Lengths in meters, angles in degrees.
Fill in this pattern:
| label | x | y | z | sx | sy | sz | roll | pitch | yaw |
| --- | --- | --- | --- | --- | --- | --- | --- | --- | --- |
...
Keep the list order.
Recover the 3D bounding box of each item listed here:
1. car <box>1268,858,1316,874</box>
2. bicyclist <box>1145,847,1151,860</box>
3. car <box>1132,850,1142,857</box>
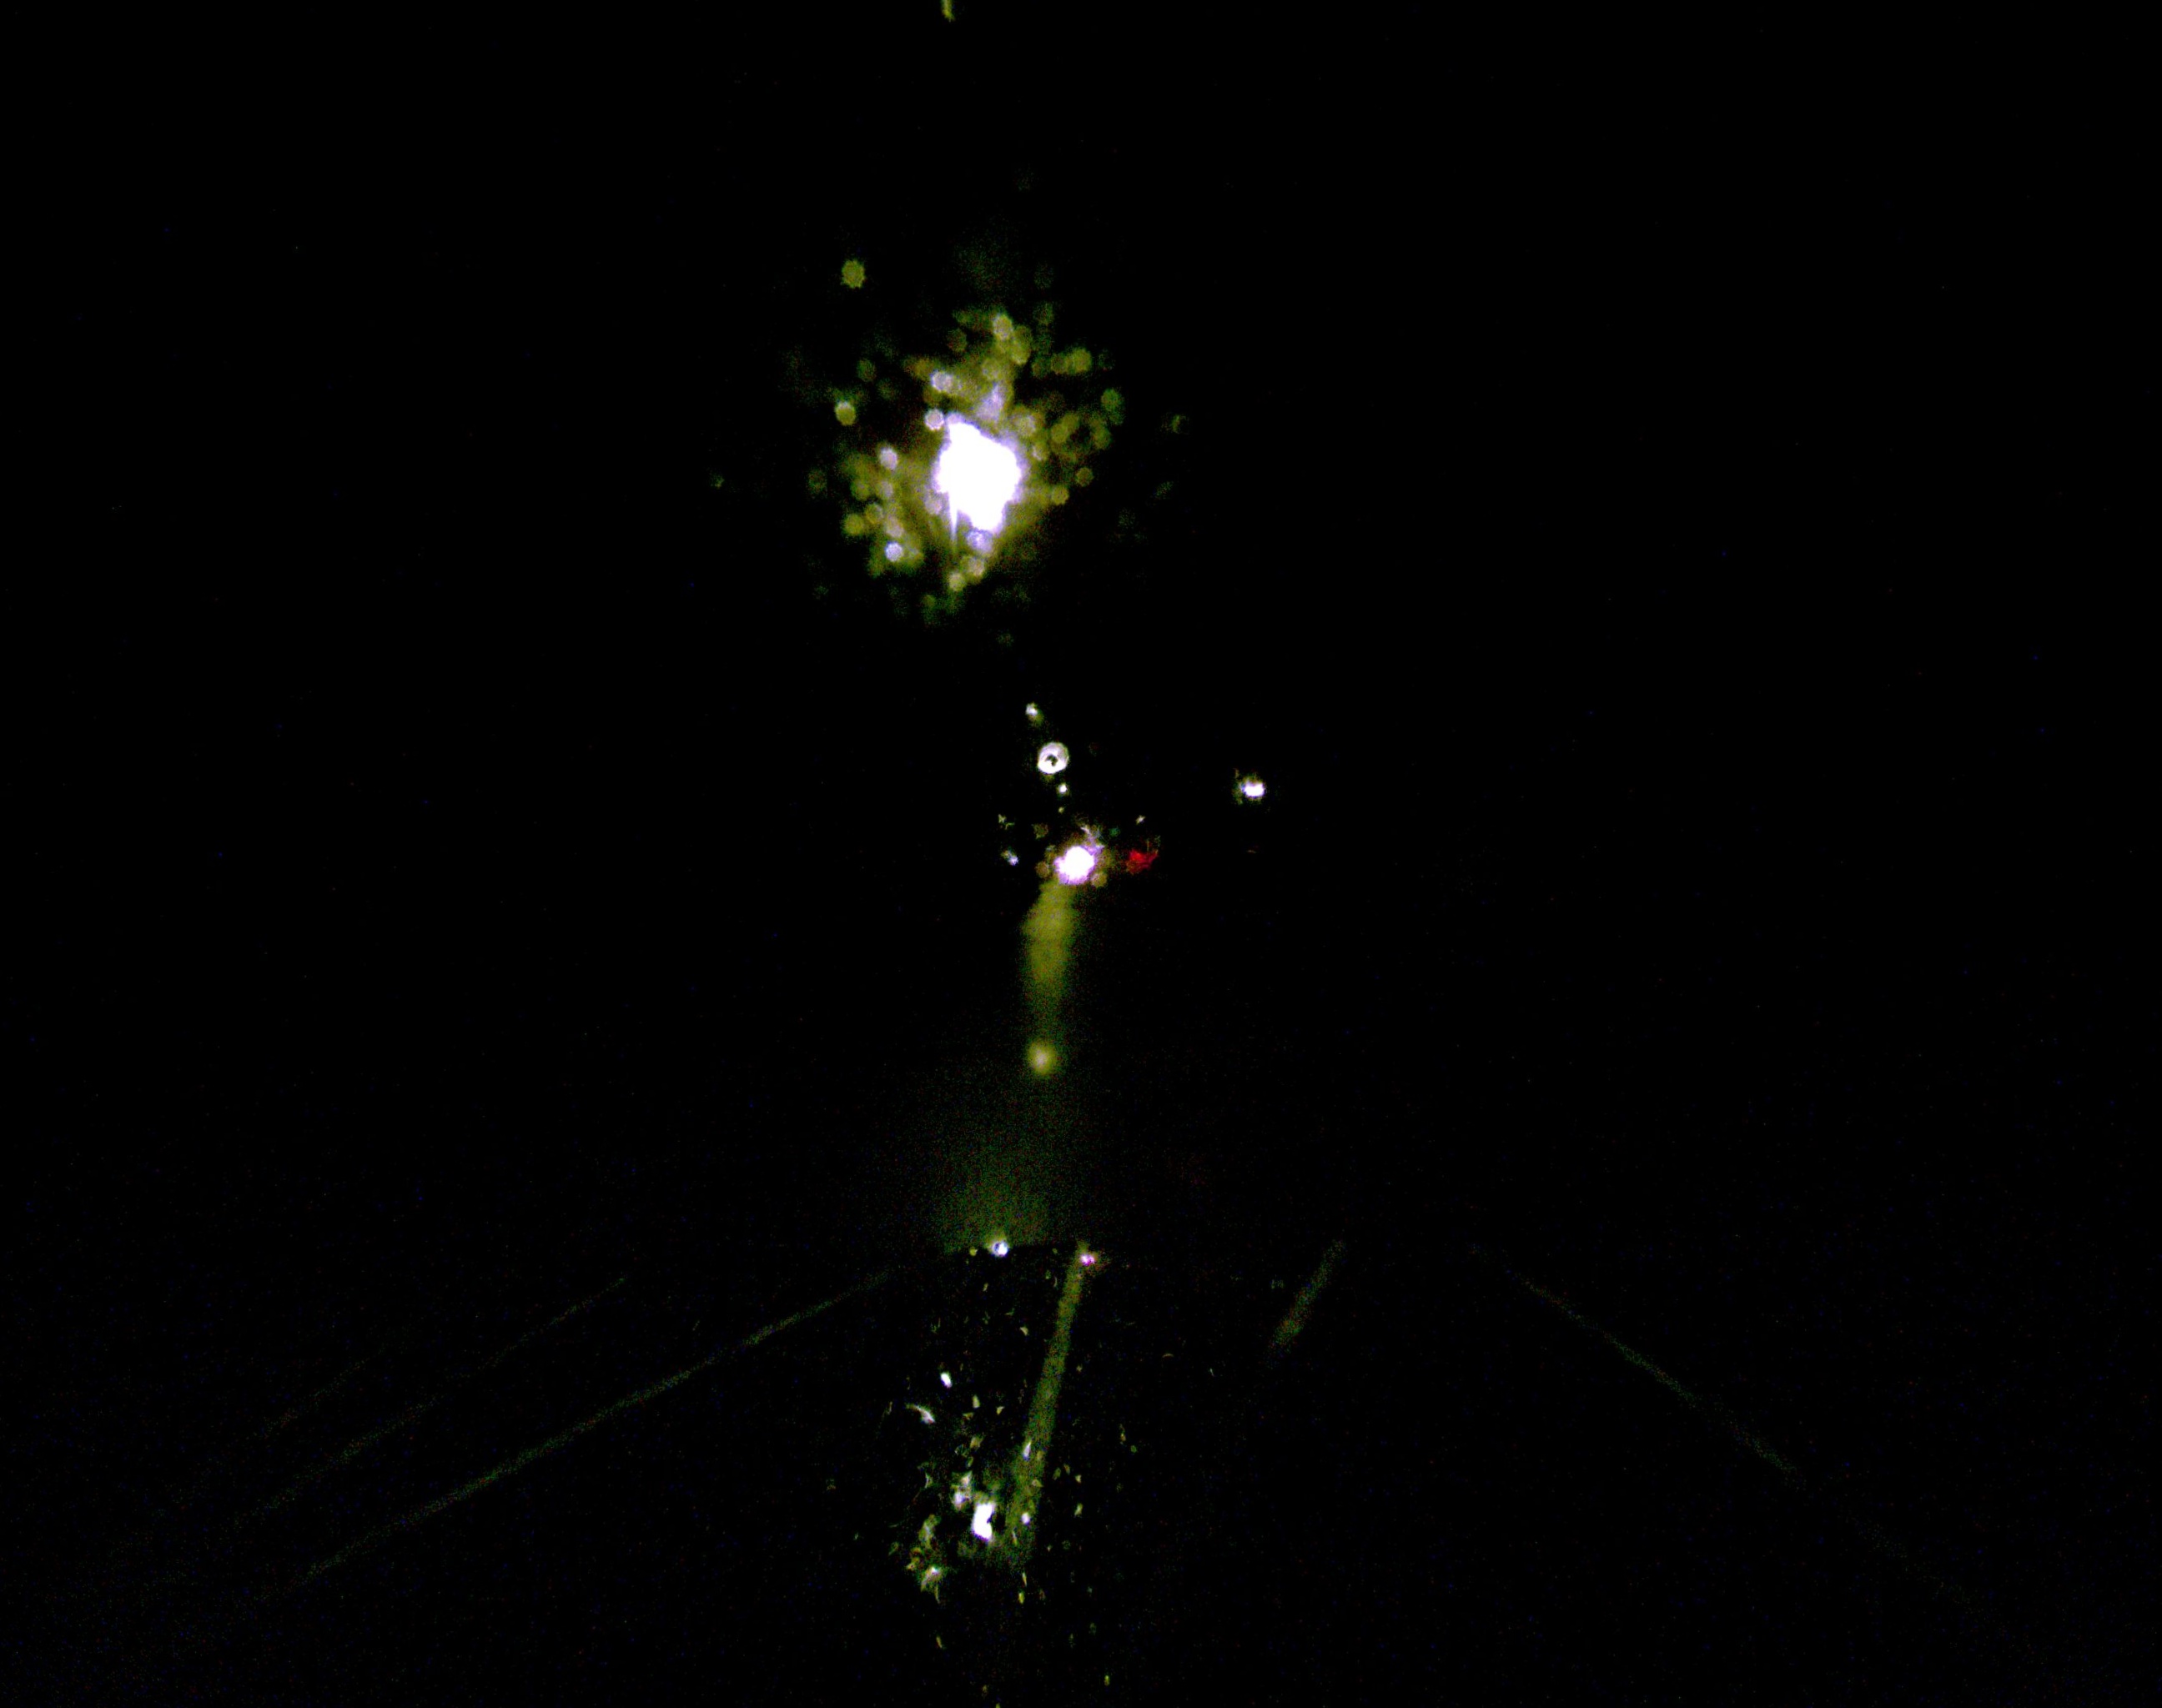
| label | x | y | z | sx | sy | sz | roll | pitch | yaw |
| --- | --- | --- | --- | --- | --- | --- | --- | --- | --- |
| car | 19.646 | 1.131 | 70.907 | 4.084 | 1.364 | 1.493 | 1 | 5 | 5 |
| bicyclist | 8.210 | -0.046 | 93.338 | 0.638 | 1.585 | 0.960 | -2 | -2 | -1 |
| car | 12.948 | -0.117 | 175.912 | 1.997 | 1.447 | 4.305 | 4 | 1 | 8 |
